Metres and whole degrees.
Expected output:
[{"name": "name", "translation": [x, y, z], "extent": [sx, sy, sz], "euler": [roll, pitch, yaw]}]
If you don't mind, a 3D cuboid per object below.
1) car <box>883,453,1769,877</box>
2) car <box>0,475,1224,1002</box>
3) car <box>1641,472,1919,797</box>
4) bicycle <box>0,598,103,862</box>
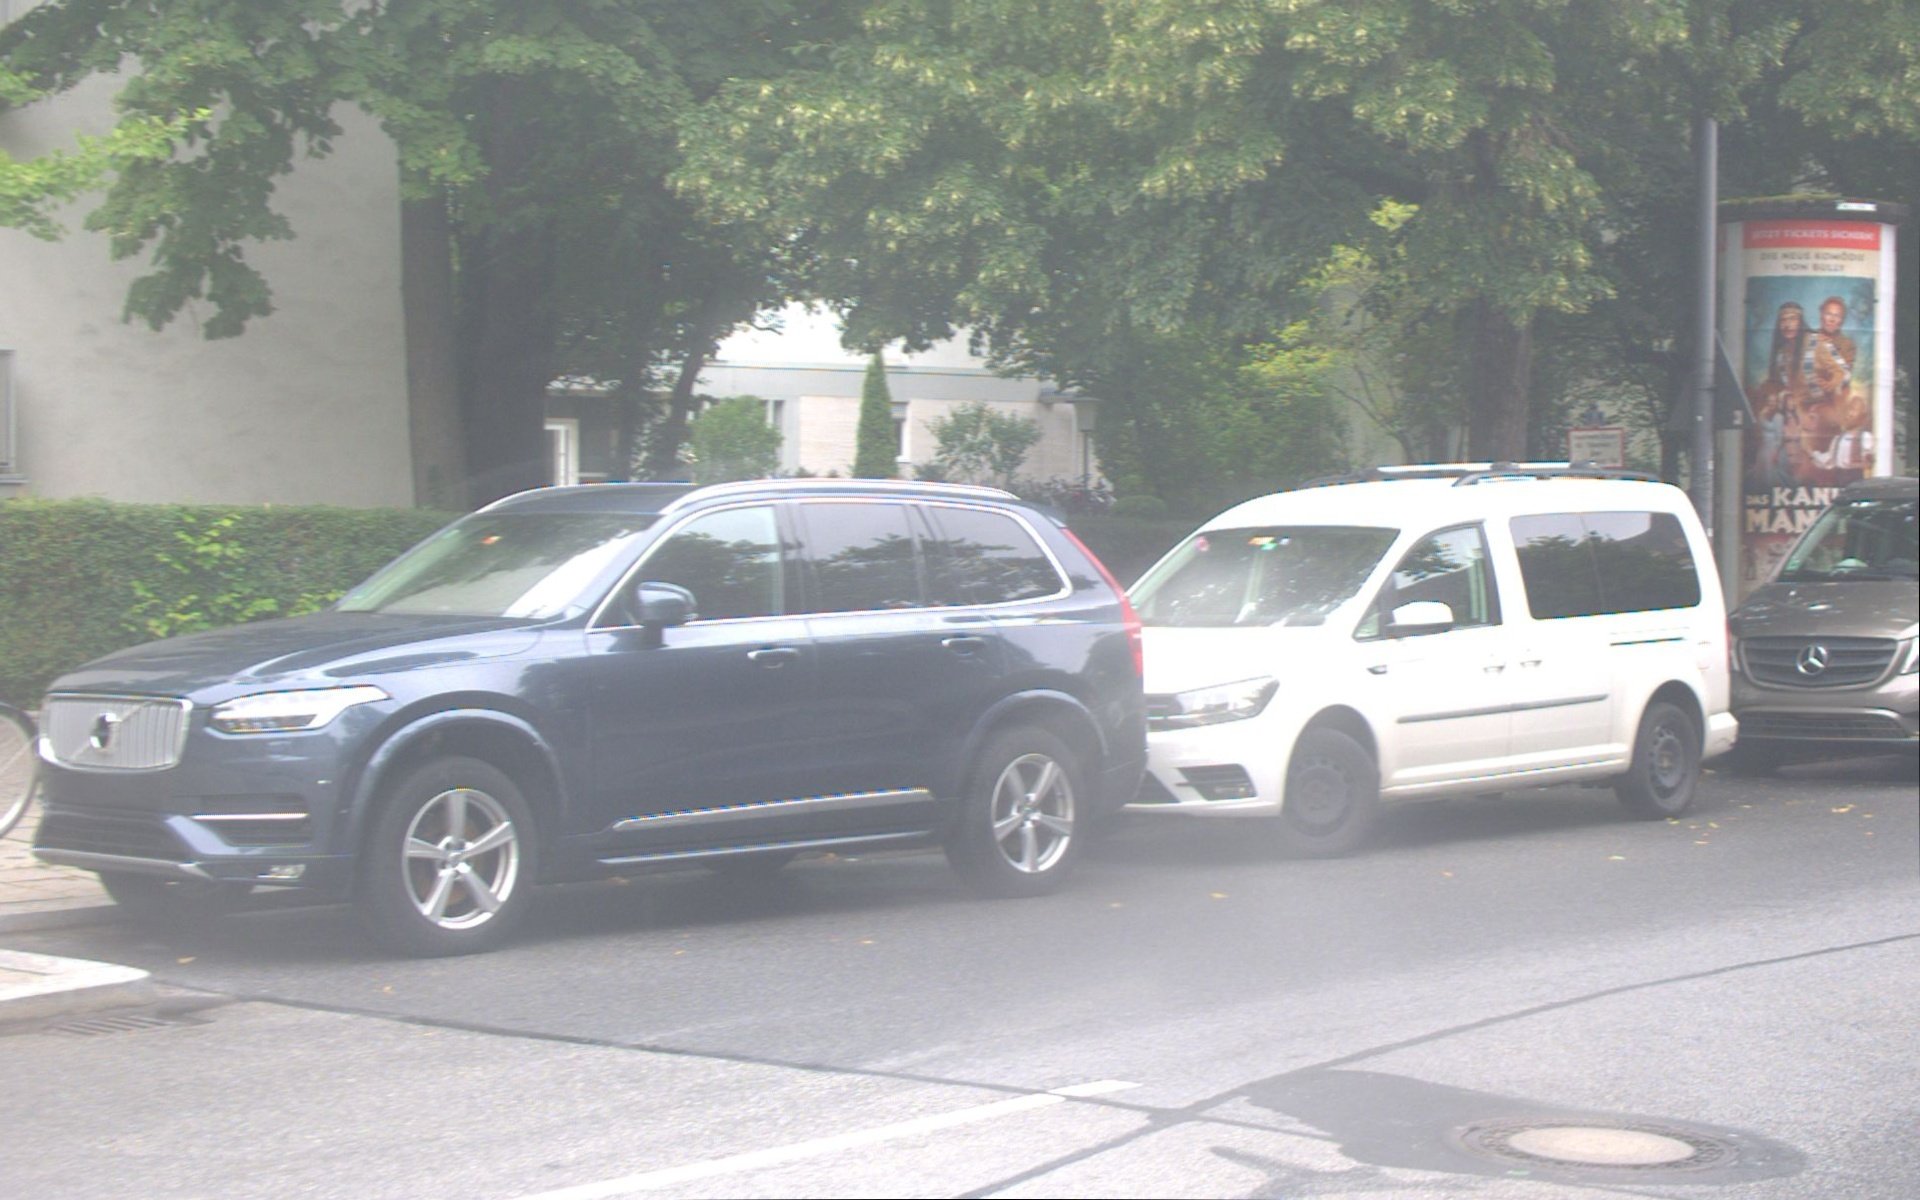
[{"name": "car", "translation": [2.036, 0.235, 17.858], "extent": [2.089, 1.897, 4.846], "euler": [2, 2, 43]}, {"name": "car", "translation": [-1.447, 0.390, 13.789], "extent": [2.089, 1.713, 5.291], "euler": [2, 2, 44]}, {"name": "car", "translation": [6.829, 0.158, 22.831], "extent": [2.031, 1.901, 5.654], "euler": [0, 1, 40]}, {"name": "bicycle", "translation": [-4.489, 0.555, 14.289], "extent": [0.752, 1.081, 1.781], "euler": [1, 2, 31]}]
